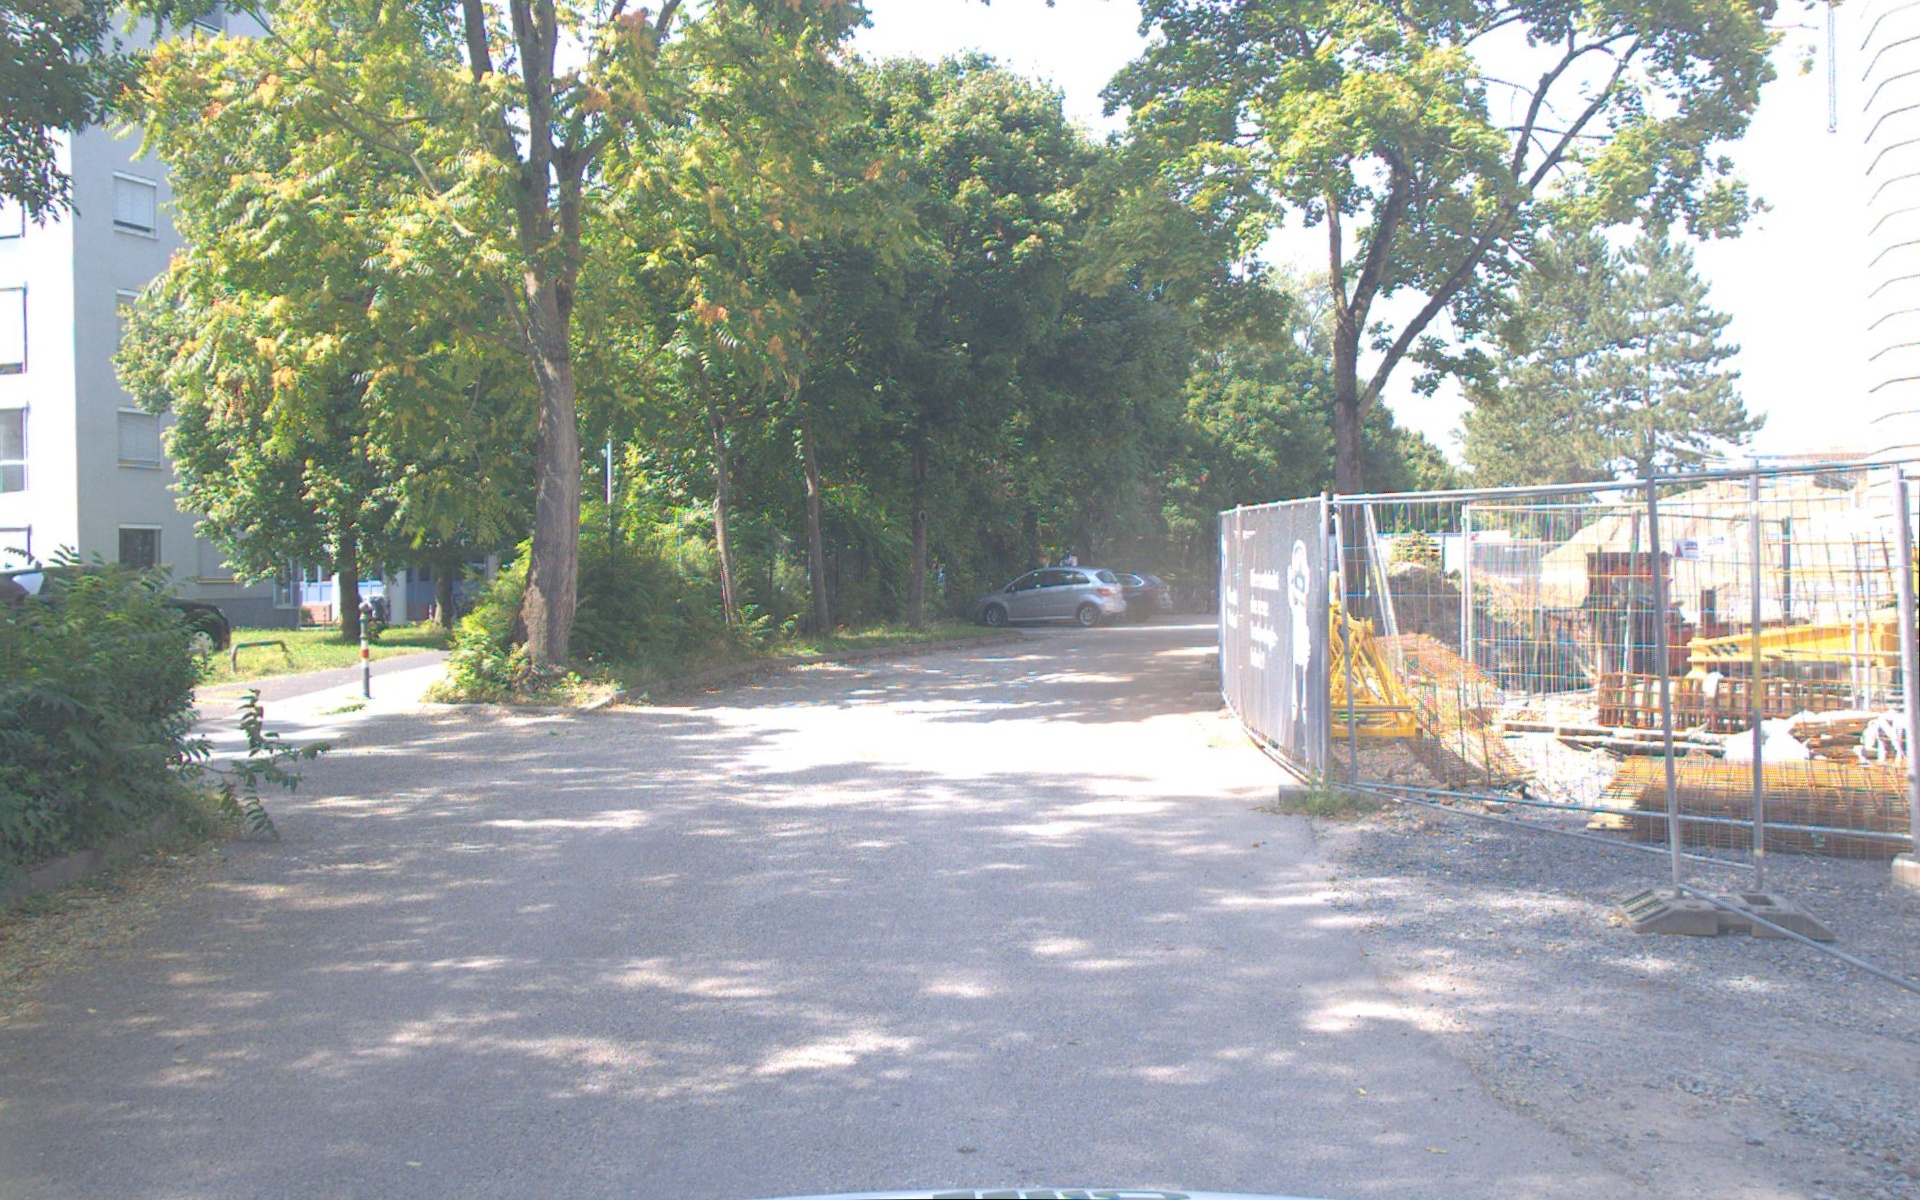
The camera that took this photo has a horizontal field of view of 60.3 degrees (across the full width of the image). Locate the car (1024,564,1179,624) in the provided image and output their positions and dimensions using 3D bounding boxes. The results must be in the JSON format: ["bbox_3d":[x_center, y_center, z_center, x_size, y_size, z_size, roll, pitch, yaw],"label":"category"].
[{"bbox_3d":[4.077,-0.204,47.657,4.063,1.640,2.000,1,1,23],"label":"car"}]

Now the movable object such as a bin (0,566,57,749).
[{"bbox_3d":[-8.632,0.476,13.860,1.339,1.519,1.337,0,1,7],"label":"movable object such as a bin"}]

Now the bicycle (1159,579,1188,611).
[{"bbox_3d":[7.858,-0.195,60.782,0.489,1.127,1.798,0,1,26],"label":"bicycle"}]

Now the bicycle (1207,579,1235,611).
[{"bbox_3d":[9.483,-0.199,60.005,0.489,1.127,1.798,0,1,26],"label":"bicycle"}]

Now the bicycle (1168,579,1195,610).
[{"bbox_3d":[8.417,-0.222,62.841,0.489,1.127,1.798,0,1,26],"label":"bicycle"}]

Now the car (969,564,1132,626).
[{"bbox_3d":[2.493,-0.162,45.445,4.063,1.640,2.000,1,1,23],"label":"car"}]

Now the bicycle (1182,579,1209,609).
[{"bbox_3d":[8.914,-0.231,62.654,0.489,1.127,1.798,0,1,26],"label":"bicycle"}]

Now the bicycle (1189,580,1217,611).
[{"bbox_3d":[8.932,-0.183,60.696,0.489,1.127,1.798,0,1,26],"label":"bicycle"}]

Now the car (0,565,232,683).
[{"bbox_3d":[-12.623,0.286,23.624,1.669,1.554,3.908,0,1,27],"label":"car"}]
